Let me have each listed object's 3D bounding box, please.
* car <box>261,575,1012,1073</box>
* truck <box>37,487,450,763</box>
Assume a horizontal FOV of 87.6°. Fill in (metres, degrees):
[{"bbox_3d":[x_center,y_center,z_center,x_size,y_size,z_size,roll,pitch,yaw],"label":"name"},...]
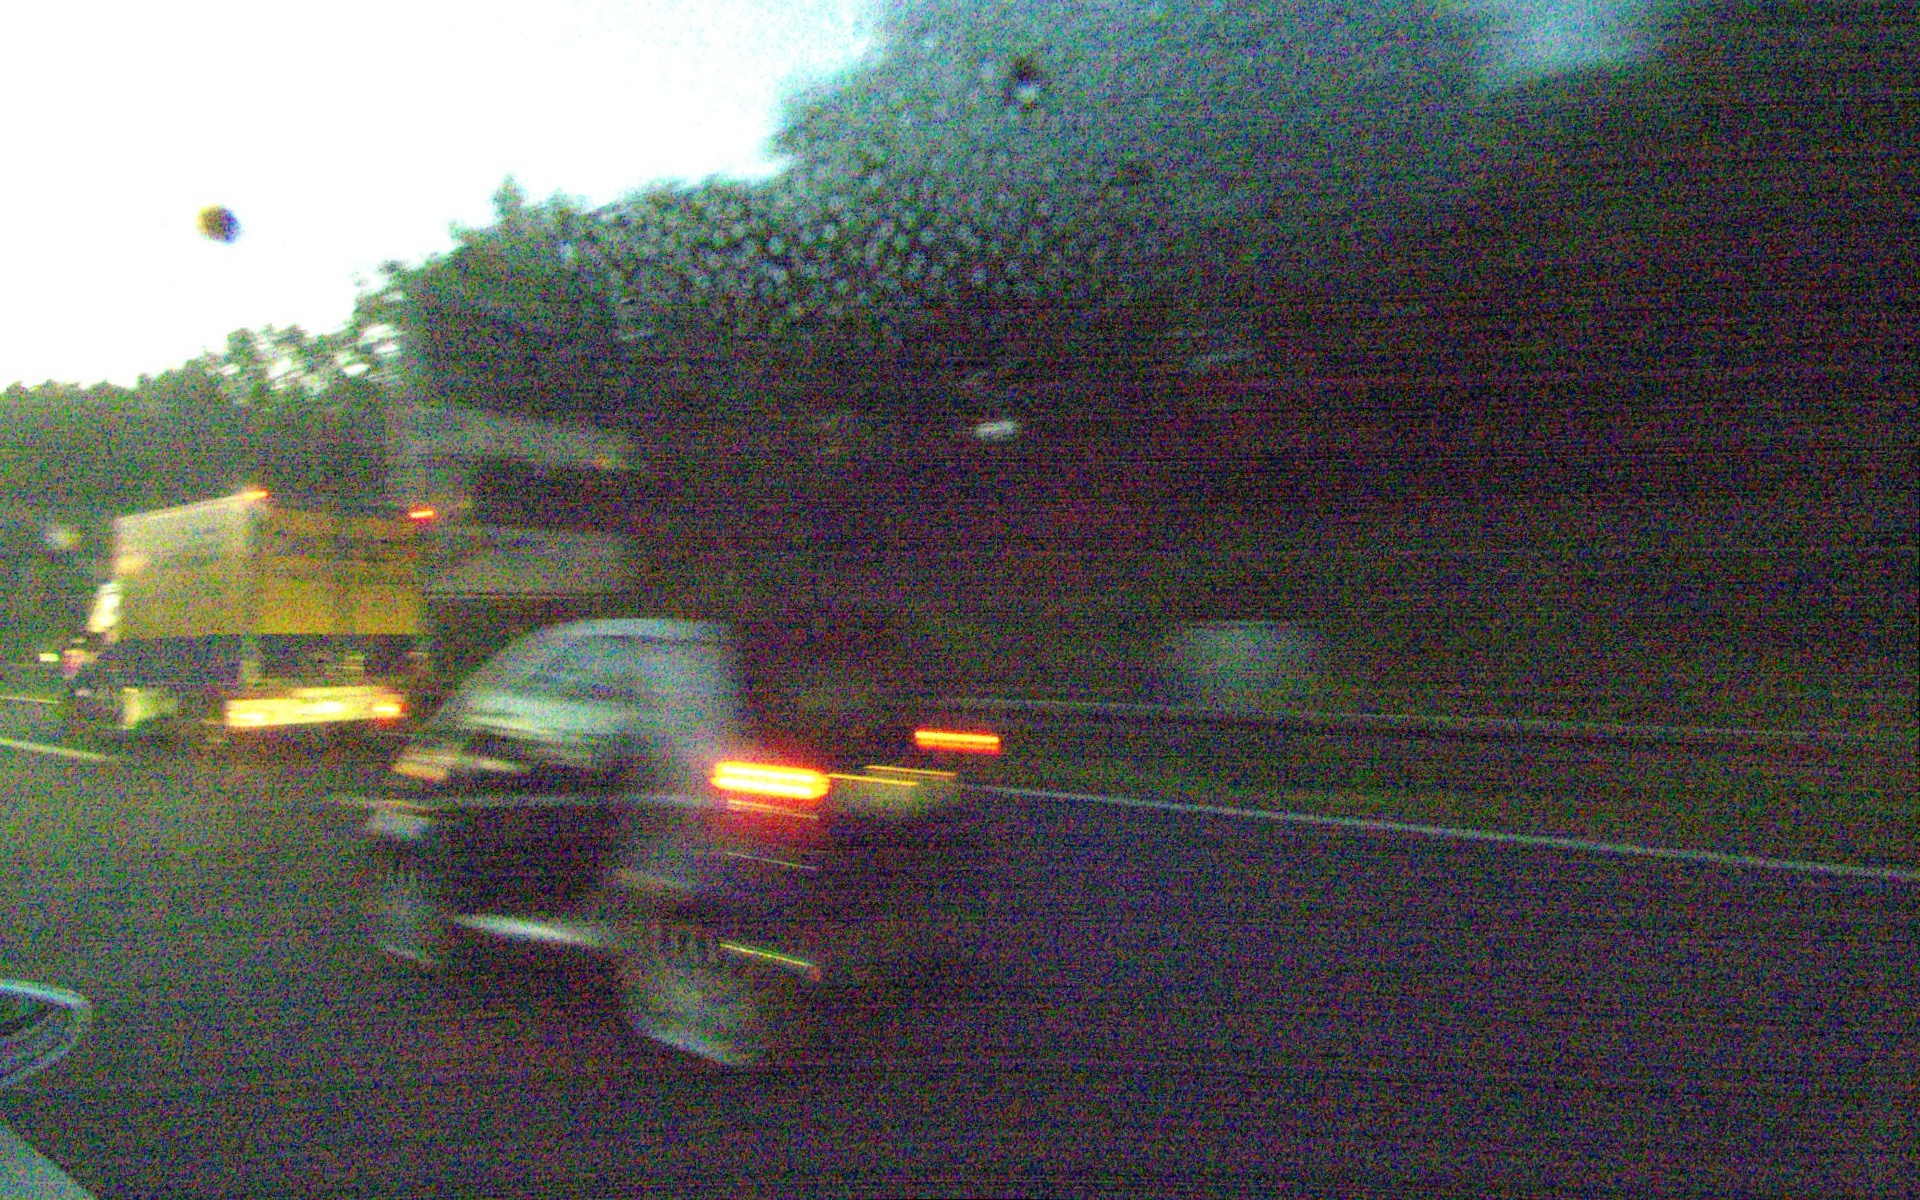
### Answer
[{"bbox_3d":[-1.581,0.745,4.709,3.271,1.576,1.607,-1,0,31],"label":"car"},{"bbox_3d":[-9.918,0.358,13.644,6.537,3.009,2.265,-1,-2,32],"label":"truck"}]
